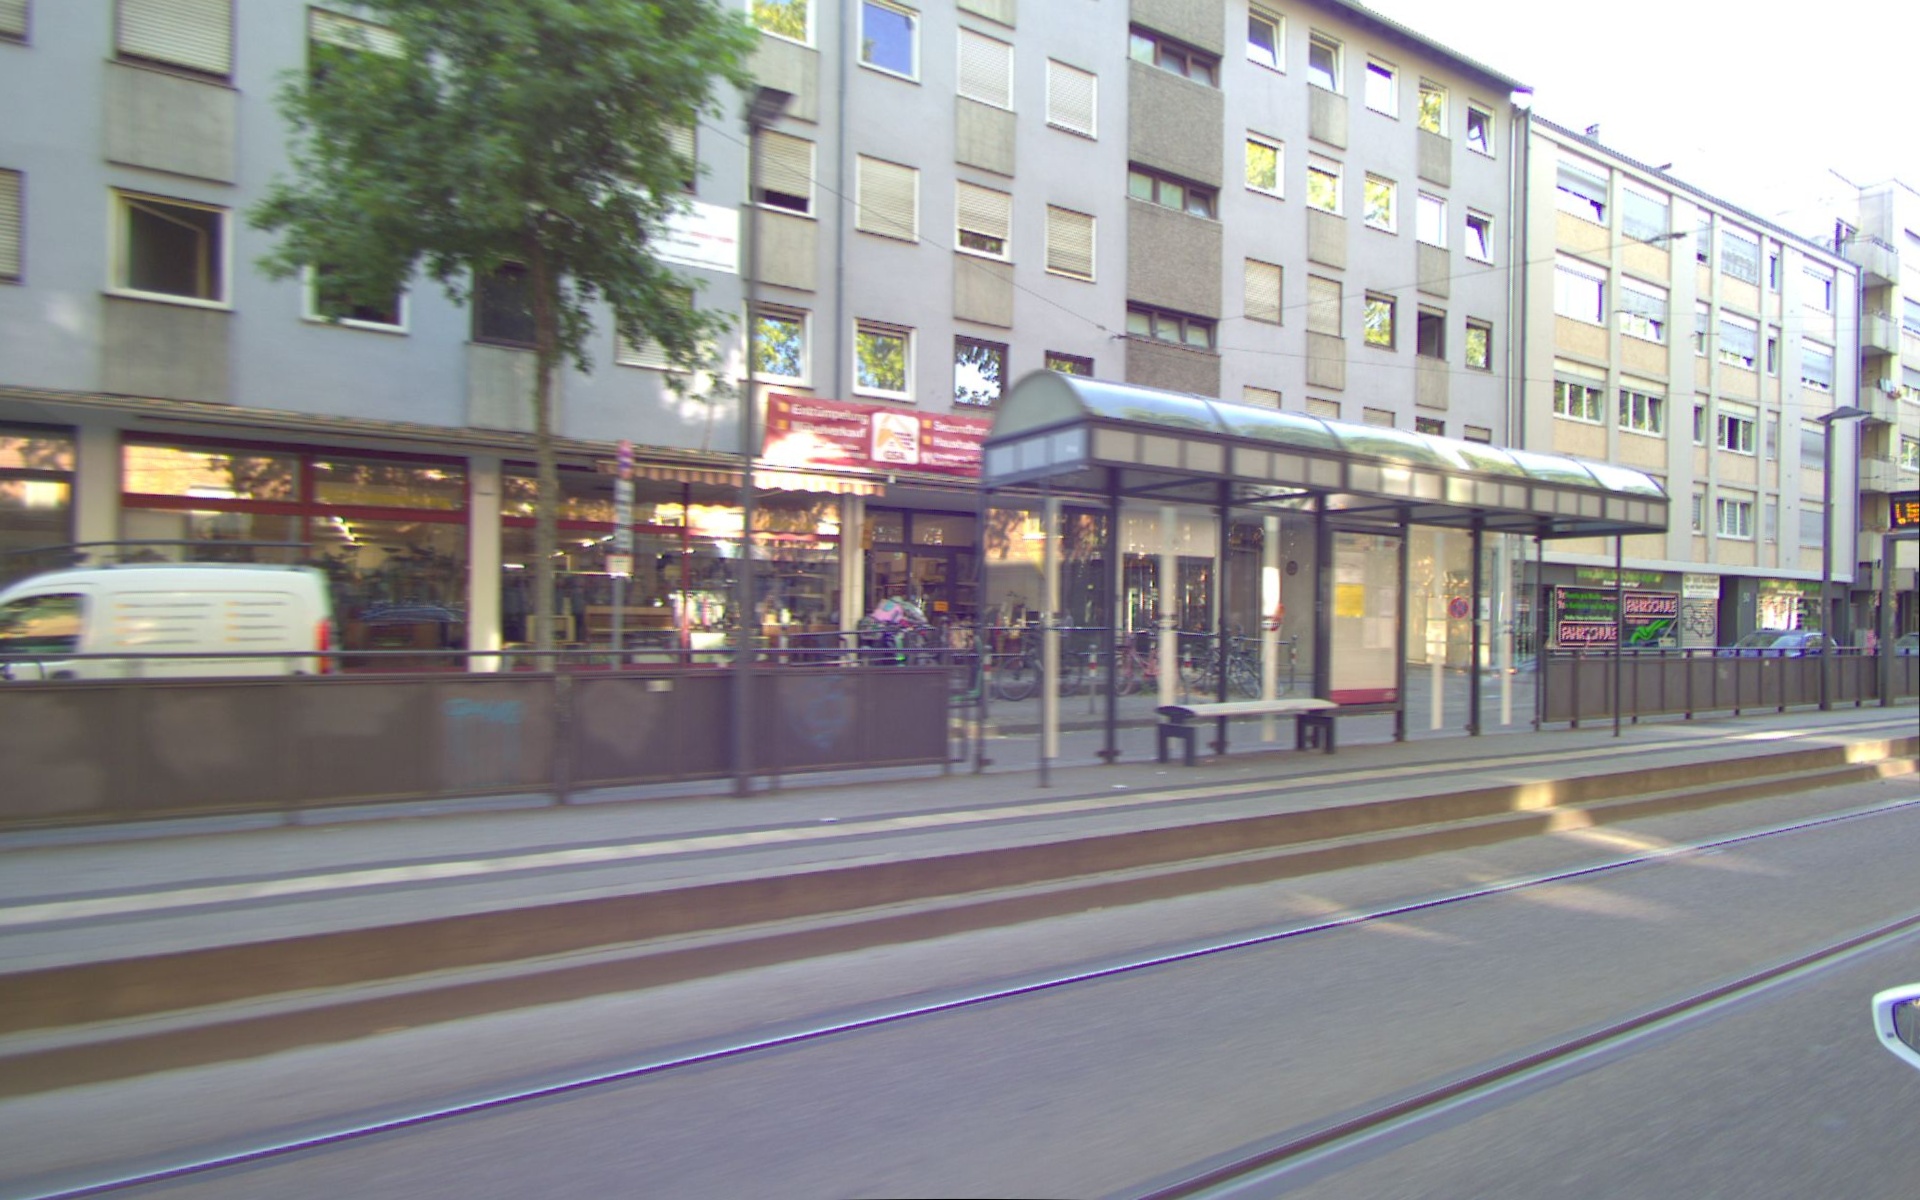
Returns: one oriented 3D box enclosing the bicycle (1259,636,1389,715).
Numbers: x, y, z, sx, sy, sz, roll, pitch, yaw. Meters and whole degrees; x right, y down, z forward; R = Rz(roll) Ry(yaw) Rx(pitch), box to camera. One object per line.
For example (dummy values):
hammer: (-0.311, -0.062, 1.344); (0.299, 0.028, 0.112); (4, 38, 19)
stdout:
bicycle: (6.247, 1.262, 17.387); (0.628, 1.088, 2.243); (1, 2, -28)

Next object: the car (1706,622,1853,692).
car: (20.847, 1.410, 25.528); (3.953, 1.569, 1.585); (1, 1, -31)

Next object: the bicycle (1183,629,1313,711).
bicycle: (4.659, 1.096, 16.430); (0.628, 1.088, 2.243); (1, 2, -28)

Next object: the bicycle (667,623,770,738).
bicycle: (-2.905, 0.892, 11.900); (0.628, 1.088, 2.243); (1, 2, -28)

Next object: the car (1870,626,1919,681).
car: (30.239, 1.660, 31.279); (3.954, 1.569, 1.669); (1, 1, -31)

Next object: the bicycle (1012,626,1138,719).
bicycle: (1.624, 1.002, 14.618); (0.628, 1.088, 2.243); (1, 2, -28)

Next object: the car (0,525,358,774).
car: (-7.659, 0.409, 8.869); (3.953, 1.966, 1.680); (1, -1, -31)

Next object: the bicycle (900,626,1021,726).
bicycle: (-0.043, 0.985, 13.709); (0.628, 1.088, 2.243); (1, 2, -28)

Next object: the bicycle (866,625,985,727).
bicycle: (-0.509, 0.955, 13.386); (0.628, 1.088, 2.243); (1, 2, -28)

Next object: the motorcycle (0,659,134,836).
motorcycle: (-6.255, 0.895, 6.066); (1.855, 1.046, 0.592); (1, -3, -30)

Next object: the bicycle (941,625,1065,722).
bicycle: (0.546, 0.974, 13.987); (0.628, 1.088, 2.243); (1, 2, -28)

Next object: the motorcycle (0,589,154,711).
motorcycle: (-10.571, 0.554, 11.352); (2.196, 1.328, 0.596); (1, -1, -31)

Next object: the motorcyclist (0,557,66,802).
motorcyclist: (-6.252, 0.483, 6.096); (1.091, 1.468, 0.592); (1, -3, -30)

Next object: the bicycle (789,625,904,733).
bicycle: (-1.484, 0.941, 12.693); (0.628, 1.088, 2.243); (1, 2, -28)

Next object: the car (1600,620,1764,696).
car: (16.761, 1.299, 23.281); (3.953, 1.569, 1.585); (1, 1, -31)

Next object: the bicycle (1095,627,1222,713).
bicycle: (3.033, 1.041, 15.633); (0.628, 1.088, 2.243); (1, 2, -28)
